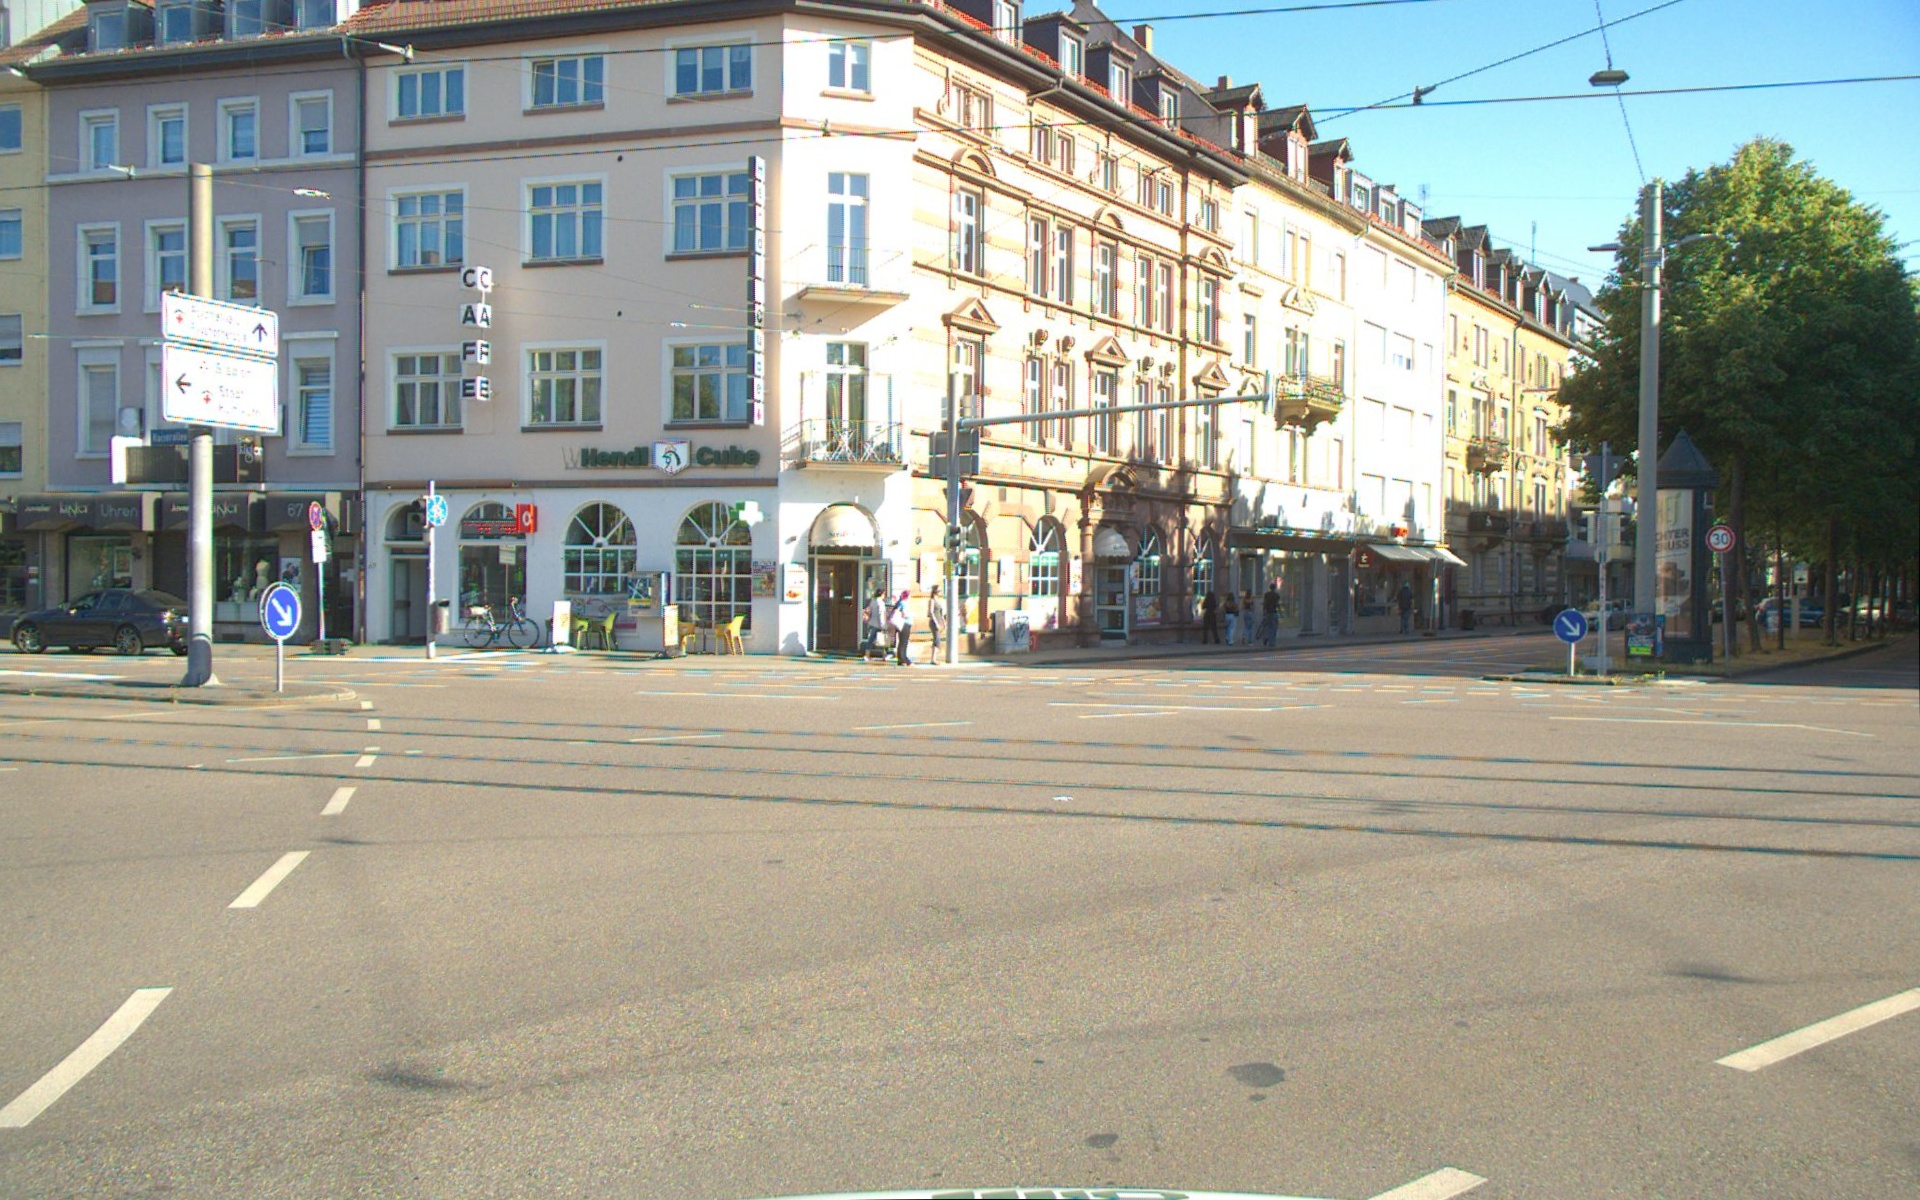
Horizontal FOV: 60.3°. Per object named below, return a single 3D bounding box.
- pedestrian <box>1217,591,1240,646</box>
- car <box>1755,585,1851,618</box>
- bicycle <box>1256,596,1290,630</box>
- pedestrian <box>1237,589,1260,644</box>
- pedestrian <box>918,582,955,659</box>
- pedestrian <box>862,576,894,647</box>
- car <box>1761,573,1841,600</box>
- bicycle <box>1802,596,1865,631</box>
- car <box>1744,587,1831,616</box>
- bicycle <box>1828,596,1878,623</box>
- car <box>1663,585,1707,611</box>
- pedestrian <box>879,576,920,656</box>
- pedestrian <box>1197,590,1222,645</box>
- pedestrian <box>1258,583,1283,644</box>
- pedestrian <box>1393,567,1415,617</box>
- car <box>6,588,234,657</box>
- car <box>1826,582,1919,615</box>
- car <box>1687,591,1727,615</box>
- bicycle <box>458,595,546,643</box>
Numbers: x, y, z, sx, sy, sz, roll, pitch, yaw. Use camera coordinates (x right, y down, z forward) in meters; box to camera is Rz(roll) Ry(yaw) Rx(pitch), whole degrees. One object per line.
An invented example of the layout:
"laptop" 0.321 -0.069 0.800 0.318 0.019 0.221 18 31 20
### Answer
"pedestrian" 8.227 0.551 50.716 0.540 1.670 0.537 0 1 28
"car" 42.635 0.048 83.657 1.985 1.572 3.935 -1 1 -44
"bicycle" 10.593 0.438 55.939 0.486 1.086 1.764 0 1 33
"pedestrian" 8.881 0.508 50.933 0.540 1.670 0.632 0 1 29
"pedestrian" -0.509 0.441 36.057 0.619 1.670 0.551 0 1 31
"pedestrian" -1.816 0.236 36.526 0.646 1.550 0.694 0 1 -10
"car" 51.255 -0.837 100.858 1.985 1.572 3.935 -1 1 -44
"bicycle" 28.324 0.438 53.659 0.573 1.086 1.939 0 1 -19
"car" 45.951 0.067 91.875 1.985 1.572 3.935 -1 1 -44
"bicycle" 36.838 0.377 68.267 0.573 1.086 1.939 0 1 -19
"car" 44.225 -0.119 100.897 1.957 1.523 4.024 0 1 31
"pedestrian" -1.277 0.328 34.753 0.663 1.670 0.577 0 1 31
"pedestrian" 7.671 0.537 50.920 0.615 1.670 0.537 0 1 29
"pedestrian" 9.599 0.402 51.078 0.569 1.868 0.631 0 1 33
"pedestrian" 17.320 -0.310 64.505 0.670 1.941 0.631 0 1 33
"car" -18.742 0.475 36.939 4.541 1.465 1.746 0 0 15
"car" 46.167 -0.102 83.496 1.983 1.572 3.939 -1 1 -42
"car" 49.516 0.200 109.570 1.957 1.523 4.024 0 1 31
"bicycle" -10.660 0.435 38.472 1.901 1.086 0.584 0 1 10
